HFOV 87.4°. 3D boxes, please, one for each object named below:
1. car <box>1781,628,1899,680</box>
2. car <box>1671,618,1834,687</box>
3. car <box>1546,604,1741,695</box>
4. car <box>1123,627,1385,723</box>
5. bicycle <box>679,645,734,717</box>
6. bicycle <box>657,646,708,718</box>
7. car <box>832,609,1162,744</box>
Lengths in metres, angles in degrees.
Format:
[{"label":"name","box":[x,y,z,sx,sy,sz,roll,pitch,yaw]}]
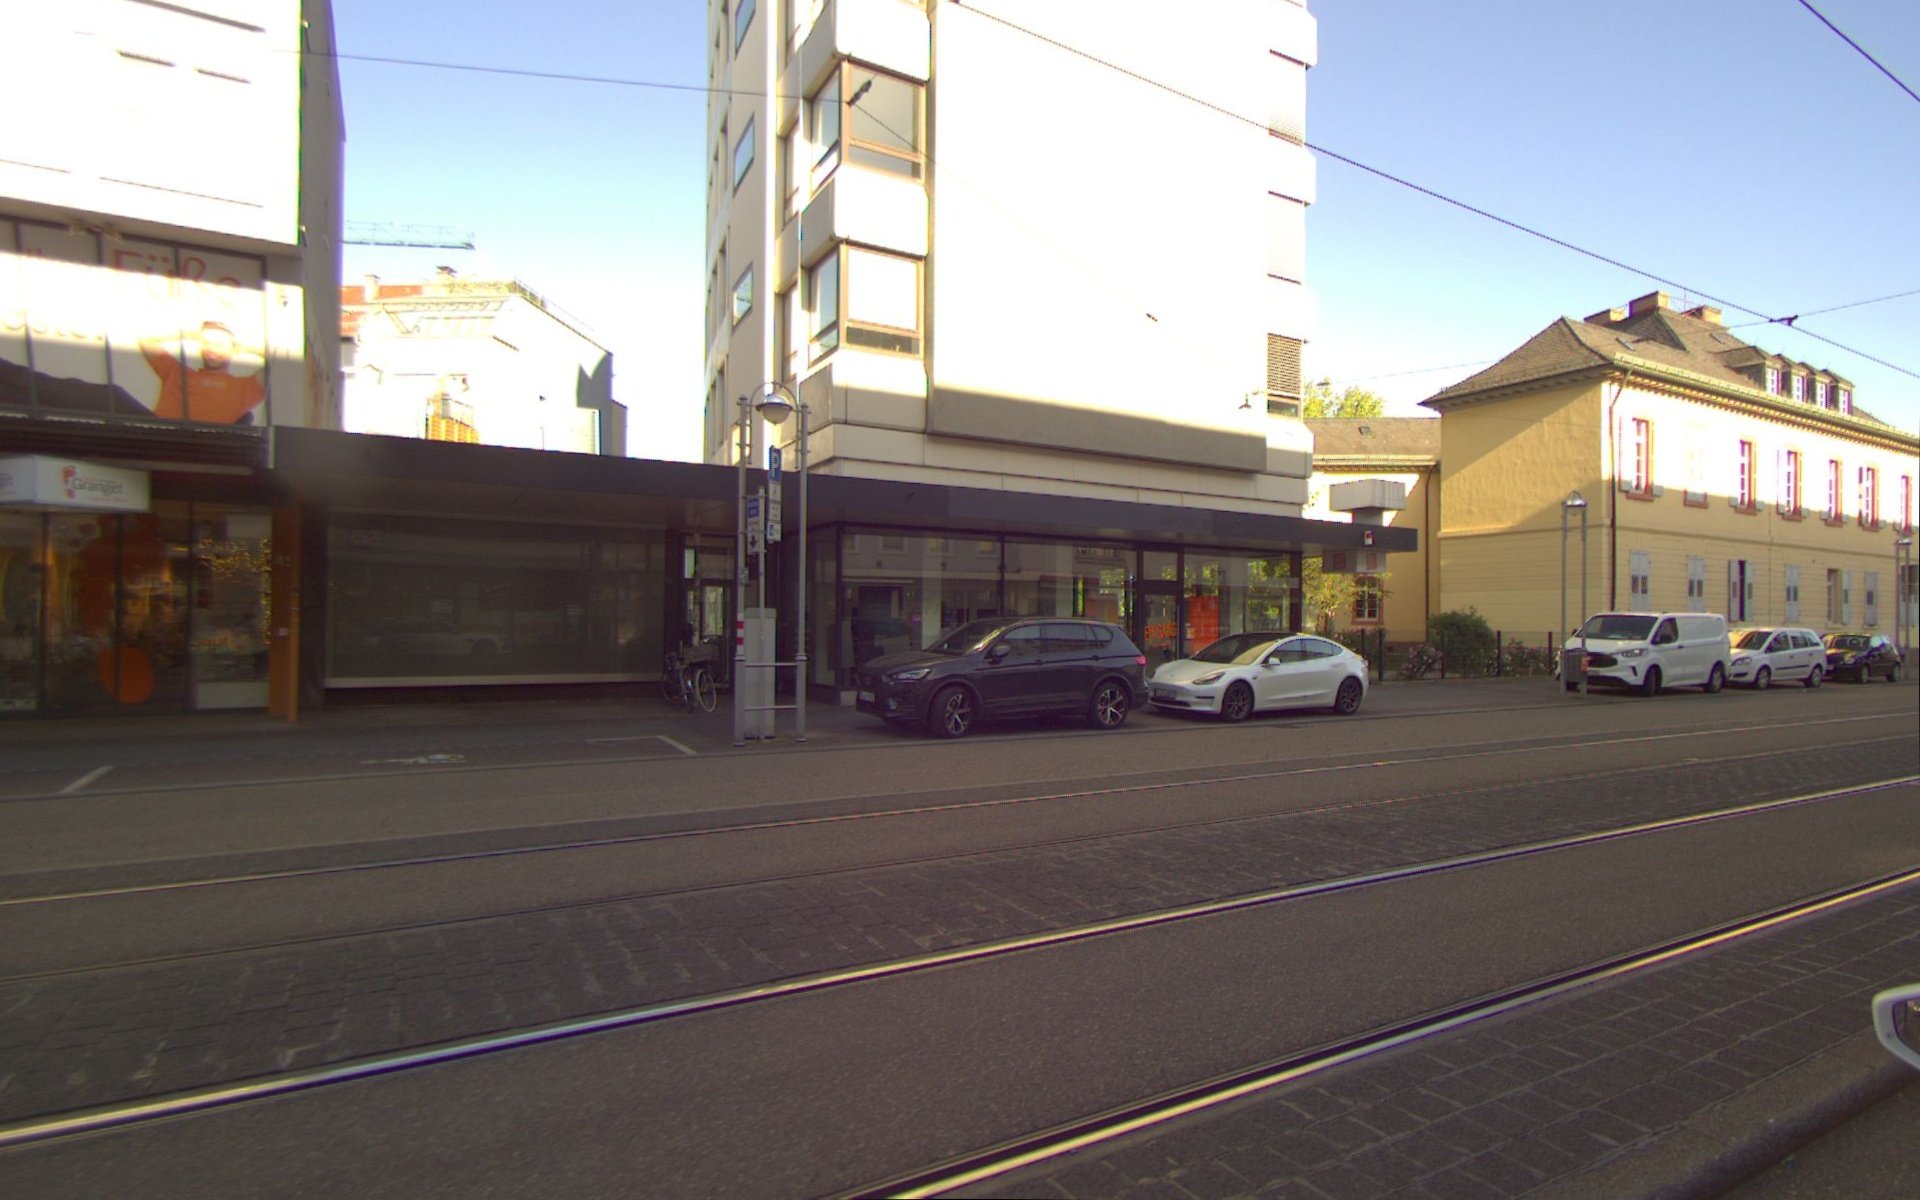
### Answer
[{"label":"car","box":[26.606,1.598,30.363,3.677,1.419,1.606,2,1,-31]},{"label":"car","box":[21.799,1.416,27.597,4.590,1.708,1.800,2,1,-28]},{"label":"car","box":[16.807,1.177,24.651,5.038,2.001,1.983,2,1,-31]},{"label":"car","box":[5.308,1.268,17.944,4.604,1.440,1.878,2,1,-32]},{"label":"bicycle","box":[-4.286,1.329,16.881,0.418,1.012,1.928,1,1,-28]},{"label":"bicycle","box":[-4.596,1.316,16.573,0.376,1.012,1.928,1,1,-28]},{"label":"car","box":[0.603,1.065,15.094,4.600,1.701,1.969,2,1,-30]}]
